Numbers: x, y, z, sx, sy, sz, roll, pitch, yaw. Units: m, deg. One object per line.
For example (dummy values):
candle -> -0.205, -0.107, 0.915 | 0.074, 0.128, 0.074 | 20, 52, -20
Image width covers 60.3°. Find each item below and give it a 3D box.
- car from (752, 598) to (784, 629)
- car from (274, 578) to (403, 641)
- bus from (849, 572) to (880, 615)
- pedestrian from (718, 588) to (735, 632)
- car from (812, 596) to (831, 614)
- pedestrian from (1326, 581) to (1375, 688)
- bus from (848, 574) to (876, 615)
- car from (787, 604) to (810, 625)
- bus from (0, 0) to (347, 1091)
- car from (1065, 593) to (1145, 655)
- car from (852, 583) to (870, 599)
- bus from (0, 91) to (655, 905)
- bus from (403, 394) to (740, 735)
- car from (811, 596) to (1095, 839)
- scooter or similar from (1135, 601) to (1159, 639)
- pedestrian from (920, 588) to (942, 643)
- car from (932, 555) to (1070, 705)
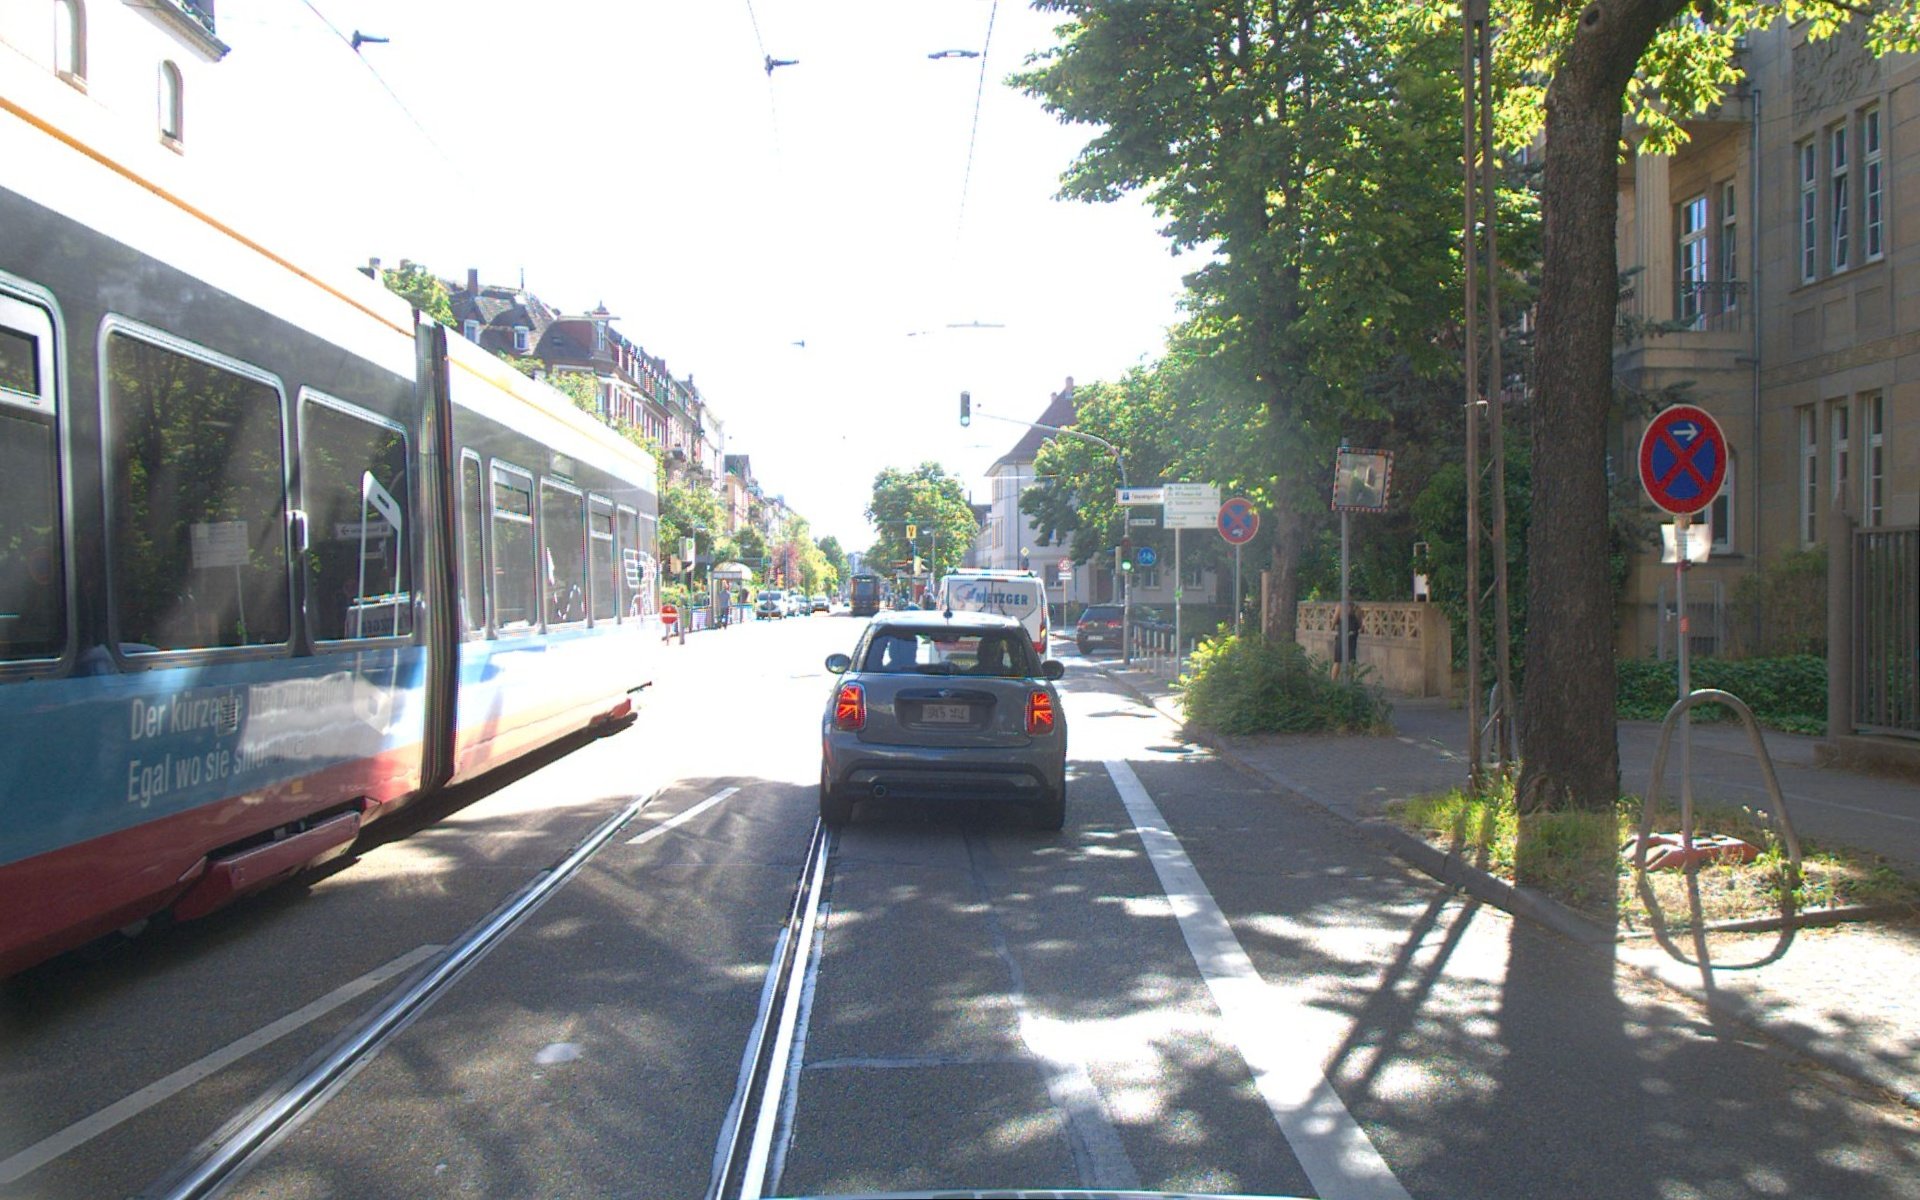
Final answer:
car -> -13.439, 0.946, 116.165 | 1.954, 2.049, 5.025 | 1, -1, -4
car -> -21.143, 0.315, 56.276 | 3.910, 2.049, 1.997 | 1, -1, 28
bus -> -8.266, -0.526, 142.557 | 2.339, 3.558, 7.376 | 1, -1, -5
pedestrian -> -9.643, 0.418, 68.306 | 0.569, 1.826, 0.604 | 0, 0, -19
car -> -13.444, 0.487, 161.027 | 1.741, 1.646, 3.996 | 1, -1, -4
pedestrian -> 6.341, 0.556, 26.871 | 0.580, 1.700, 0.646 | -2, -1, -1
bus -> -8.904, -0.485, 149.963 | 2.339, 3.558, 7.376 | 1, -1, -5
car -> -13.099, 1.209, 134.311 | 1.741, 1.646, 3.996 | 1, -1, -4
bus -> -4.018, -0.534, 1.972 | 2.803, 3.843, 11.490 | 1, -1, -3
car -> 4.265, 0.690, 49.170 | 1.953, 1.736, 3.999 | 1, -1, -1
car -> -10.536, -0.924, 175.215 | 1.827, 1.591, 3.996 | 1, -1, -4
bus -> -4.648, -0.444, 13.417 | 2.803, 3.843, 11.175 | 1, -1, -3
bus -> -5.241, -0.353, 25.010 | 2.793, 3.843, 12.189 | 1, -1, -3
car -> -0.072, 0.763, 12.486 | 1.778, 1.514, 3.999 | 1, -1, -1
scooter or similar -> 6.595, 0.708, 58.394 | 0.662, 1.333, 1.328 | 1, -1, -2
pedestrian -> -1.118, 0.593, 63.022 | 0.779, 2.049, 0.740 | 1, -1, -2
car -> 0.586, 0.476, 27.628 | 2.075, 2.247, 4.943 | 1, -1, -1
